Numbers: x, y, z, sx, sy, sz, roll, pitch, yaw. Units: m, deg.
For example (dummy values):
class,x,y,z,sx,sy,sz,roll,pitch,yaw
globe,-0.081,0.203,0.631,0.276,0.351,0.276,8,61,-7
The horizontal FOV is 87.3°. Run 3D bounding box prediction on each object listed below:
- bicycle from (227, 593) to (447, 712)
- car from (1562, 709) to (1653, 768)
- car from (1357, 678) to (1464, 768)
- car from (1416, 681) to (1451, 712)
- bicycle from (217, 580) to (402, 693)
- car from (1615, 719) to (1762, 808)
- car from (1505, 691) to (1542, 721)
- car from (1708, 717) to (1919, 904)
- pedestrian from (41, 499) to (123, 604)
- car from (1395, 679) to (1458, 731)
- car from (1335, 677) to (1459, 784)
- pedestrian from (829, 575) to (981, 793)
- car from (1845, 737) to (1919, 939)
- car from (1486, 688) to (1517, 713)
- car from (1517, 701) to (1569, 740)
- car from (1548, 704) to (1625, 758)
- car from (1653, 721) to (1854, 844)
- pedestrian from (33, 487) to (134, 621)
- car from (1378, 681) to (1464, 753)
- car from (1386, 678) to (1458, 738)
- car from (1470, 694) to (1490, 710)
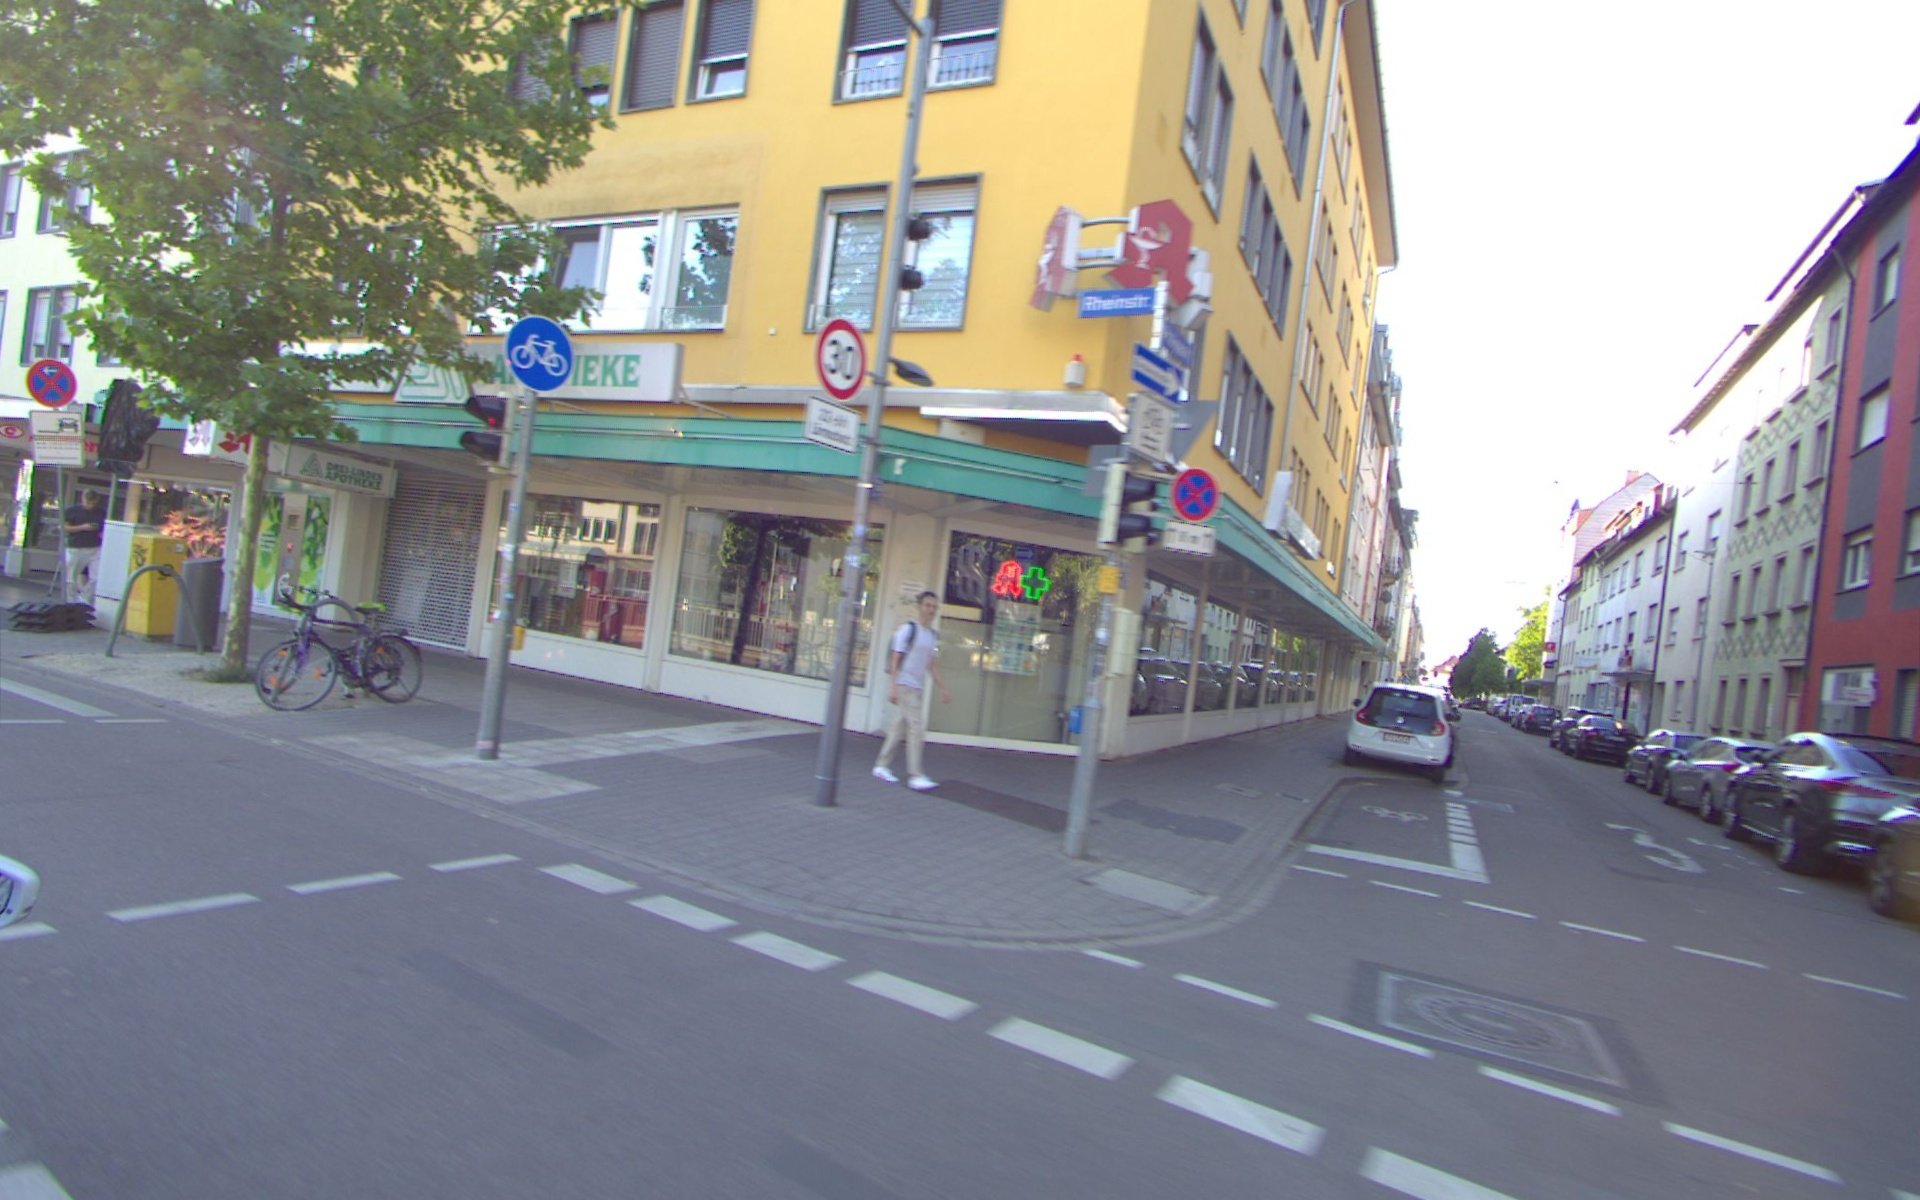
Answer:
class,x,y,z,sx,sy,sz,roll,pitch,yaw
bicycle,-6.061,0.505,9.910,0.531,1.021,1.802,7,1,23
car,20.529,4.345,32.042,1.741,1.419,3.749,7,-1,25
car,9.875,2.624,21.901,1.741,1.501,3.774,8,-1,28
car,30.668,6.248,65.080,1.741,1.642,3.774,8,-1,27
bicycle,-6.528,0.402,10.180,0.446,1.020,1.488,7,-1,23
car,15.932,3.517,22.210,1.741,1.419,3.855,7,-1,25
car,38.171,7.180,68.207,1.741,1.709,3.749,7,-1,25
car,11.294,2.560,12.884,1.741,1.761,4.615,7,-1,26
pedestrian,-15.582,-0.851,17.856,0.753,1.744,0.725,6,-1,26
car,16.949,3.782,36.477,1.741,1.501,3.774,8,-1,28
car,7.983,2.292,18.261,1.741,1.501,3.319,7,-2,26
pedestrian,-0.497,0.758,9.278,0.879,1.801,0.745,10,1,26
car,9.121,2.177,8.097,1.741,1.706,4.354,7,-2,26
car,44.112,8.181,81.990,1.741,1.709,3.749,7,-1,25
car,29.244,6.004,50.568,1.741,1.580,3.749,7,-2,25
car,22.884,4.742,36.885,1.741,1.580,3.749,7,-1,25
car,13.654,3.064,17.580,1.741,1.503,3.813,7,-1,25
pedestrian,-12.810,-0.666,14.714,0.753,1.828,0.725,6,-1,26
car,12.356,3.070,26.832,1.741,1.501,3.774,8,-1,28
car,14.652,3.387,31.803,1.741,1.501,3.774,8,-1,28
car,60.102,11.788,116.339,1.741,1.508,3.749,7,-1,25
